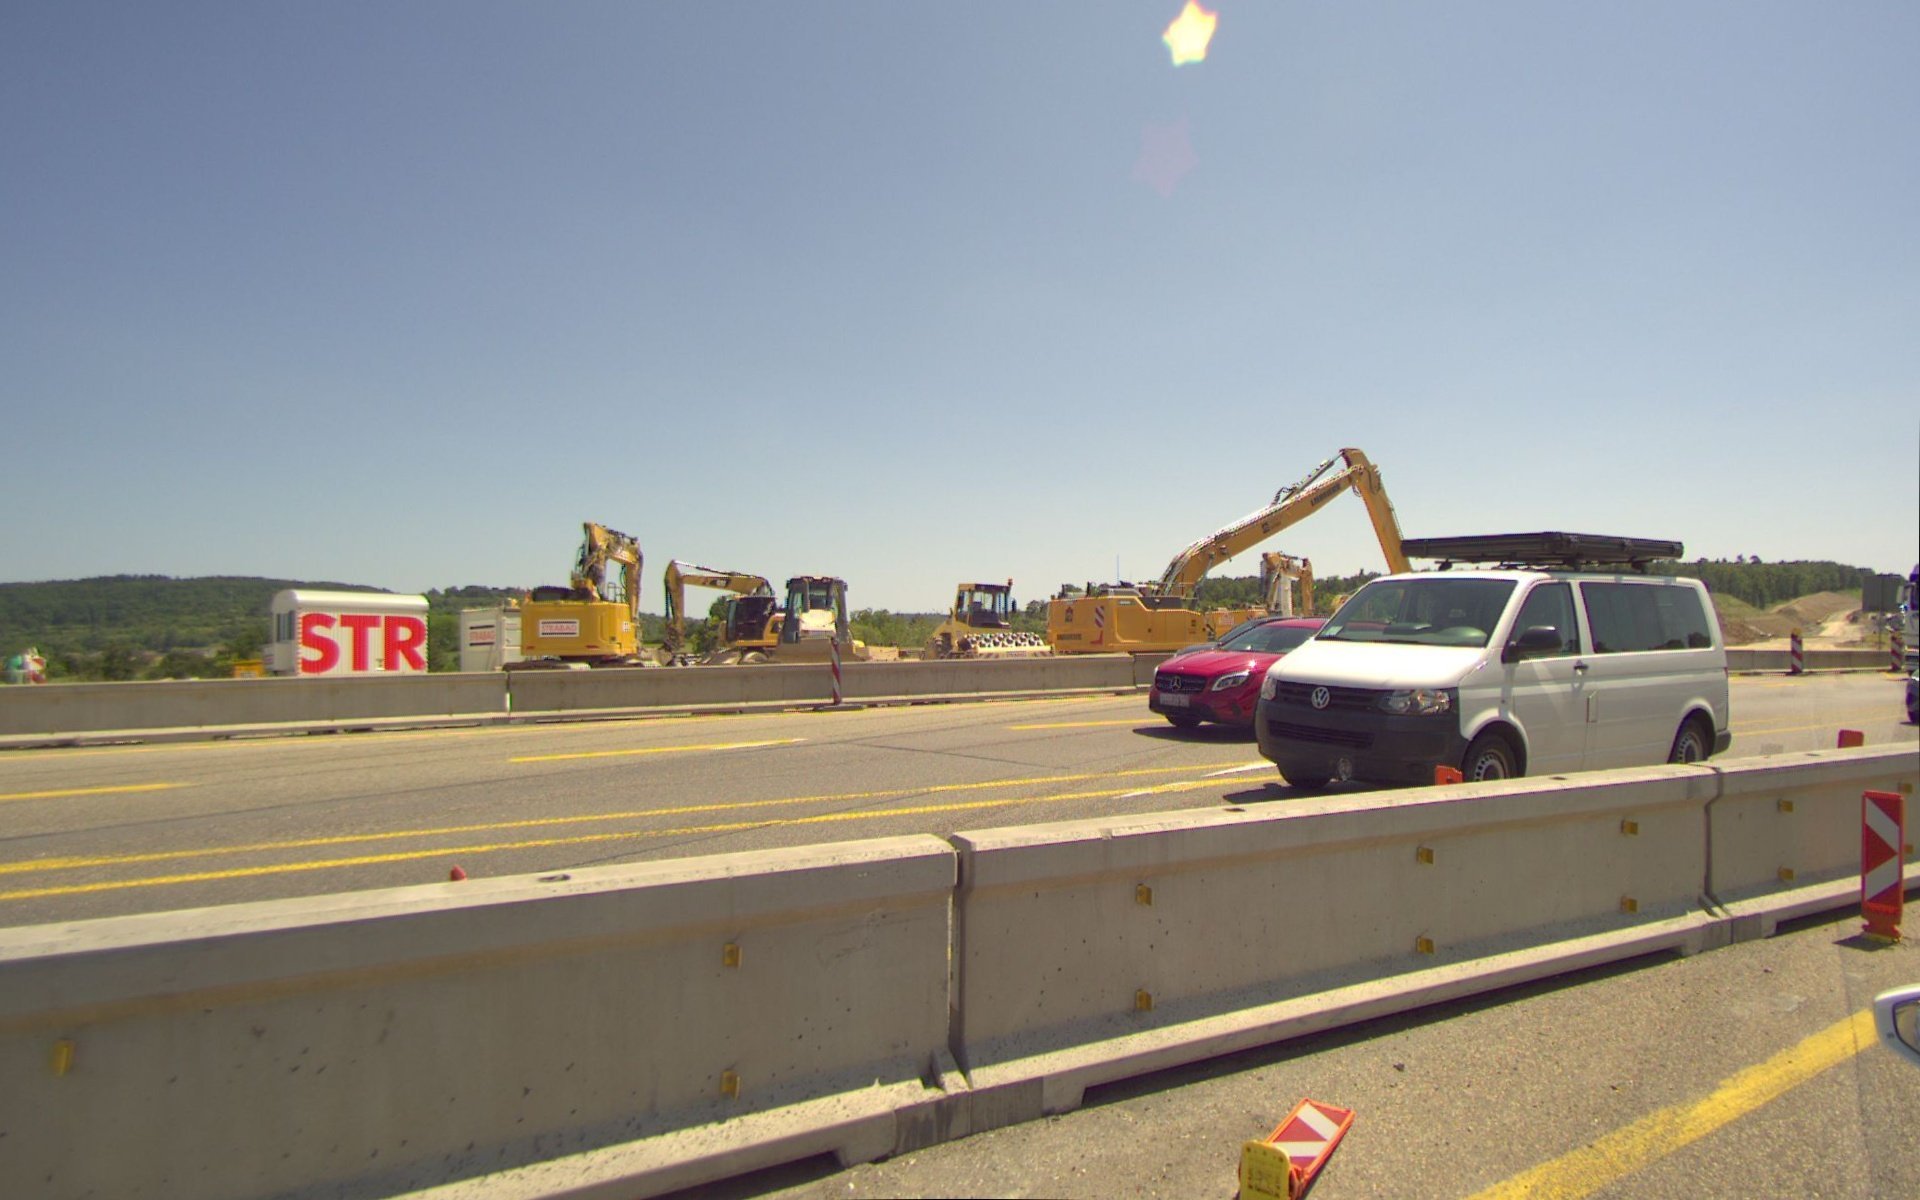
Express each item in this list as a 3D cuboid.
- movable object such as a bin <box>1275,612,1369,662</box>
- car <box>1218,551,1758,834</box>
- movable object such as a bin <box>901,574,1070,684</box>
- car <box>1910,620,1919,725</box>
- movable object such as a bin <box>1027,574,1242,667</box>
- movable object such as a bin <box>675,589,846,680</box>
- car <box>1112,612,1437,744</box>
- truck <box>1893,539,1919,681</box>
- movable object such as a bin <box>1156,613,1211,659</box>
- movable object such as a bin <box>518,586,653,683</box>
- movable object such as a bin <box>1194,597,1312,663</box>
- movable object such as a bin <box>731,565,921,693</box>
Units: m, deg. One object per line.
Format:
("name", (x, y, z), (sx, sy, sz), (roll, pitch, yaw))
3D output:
("movable object such as a bin", (24.689, 2.502, 68.348), (3.804, 3.090, 5.975), (-3, -1, 45))
("car", (4.762, 0.630, 8.822), (5.000, 1.898, 1.863), (1, 1, -31))
("movable object such as a bin", (0.529, 0.709, 28.769), (2.770, 2.800, 6.040), (1, 1, -21))
("car", (16.766, 1.146, 16.029), (3.911, 1.625, 1.500), (1, 1, -34))
("movable object such as a bin", (5.096, 0.551, 29.418), (5.374, 2.473, 3.277), (1, 1, -29))
("movable object such as a bin", (-7.885, 1.260, 39.822), (5.517, 3.300, 3.758), (0, 1, -43))
("car", (4.451, 0.940, 13.914), (4.610, 1.521, 1.979), (1, 0, -37))
("truck", (32.085, 0.332, 31.741), (6.141, 4.316, 2.751), (1, -1, -37))
("movable object such as a bin", (16.853, 2.652, 75.625), (2.386, 3.168, 5.470), (3, 2, 30))
("movable object such as a bin", (-11.420, 0.999, 30.927), (2.823, 2.764, 3.362), (1, 1, 1))
("movable object such as a bin", (14.974, 1.506, 51.281), (4.953, 3.066, 3.633), (-1, -1, -41))
("movable object such as a bin", (-3.369, 0.532, 23.664), (3.653, 2.465, 7.912), (1, 1, -11))
